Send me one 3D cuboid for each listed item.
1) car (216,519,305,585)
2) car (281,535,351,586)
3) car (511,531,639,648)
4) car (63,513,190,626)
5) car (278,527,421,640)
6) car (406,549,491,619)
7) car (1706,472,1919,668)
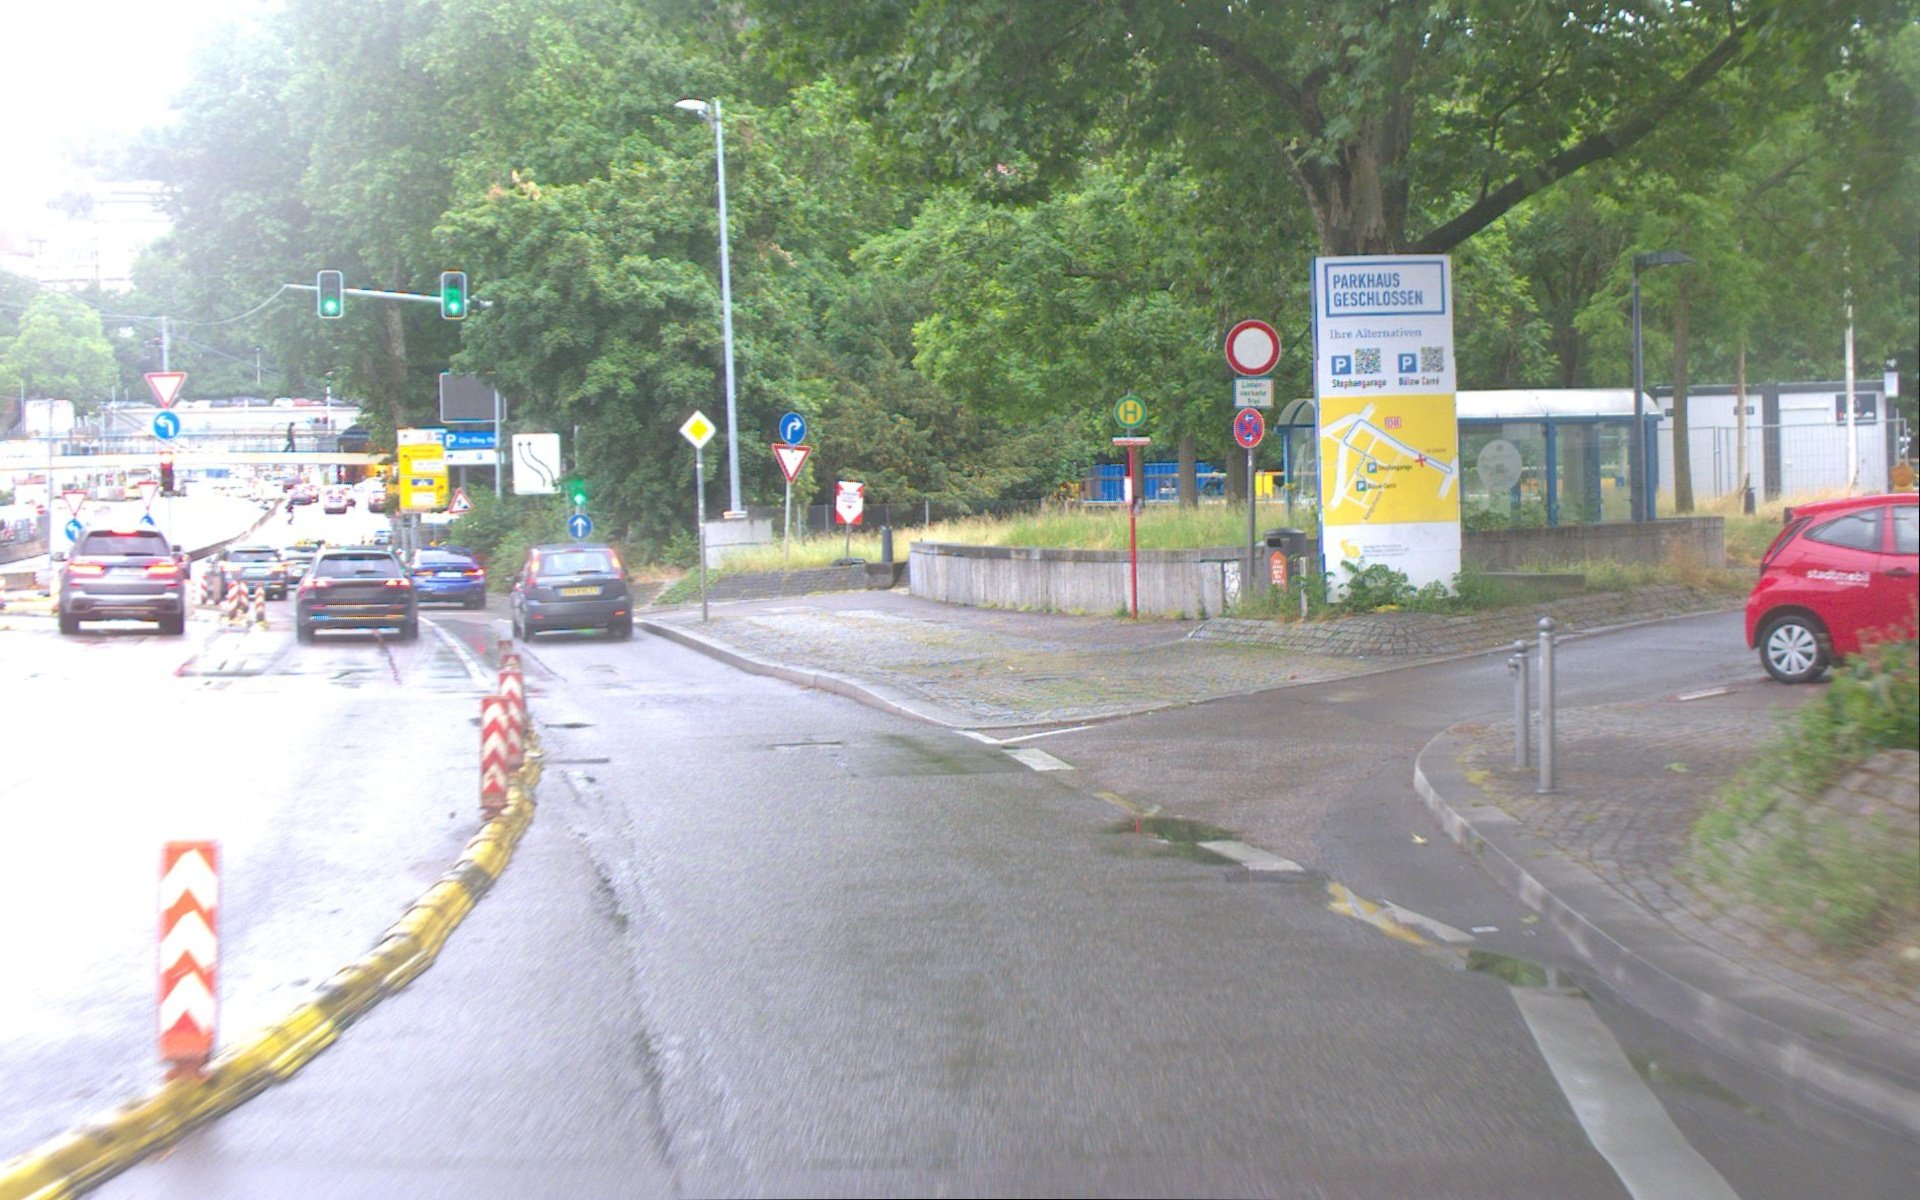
[{"bbox_3d":[-18.548,-1.276,91.305,1.903,1.711,4.001,0,1,-5],"label":"car"},{"bbox_3d":[-20.732,-1.282,110.618,1.634,1.619,3.796,0,1,-20],"label":"car"},{"bbox_3d":[-5.804,-0.182,52.141,1.851,1.711,4.001,0,1,-5],"label":"car"},{"bbox_3d":[-13.956,-0.523,57.629,1.993,1.820,4.001,0,1,-13],"label":"car"},{"bbox_3d":[-9.609,-0.298,54.376,1.830,1.680,4.135,-1,1,-5],"label":"car"},{"bbox_3d":[-11.724,-0.378,79.000,1.674,1.576,3.240,0,1,-4],"label":"car"},{"bbox_3d":[7.893,-0.236,26.925,3.615,1.500,1.731,1,1,35],"label":"car"}]
